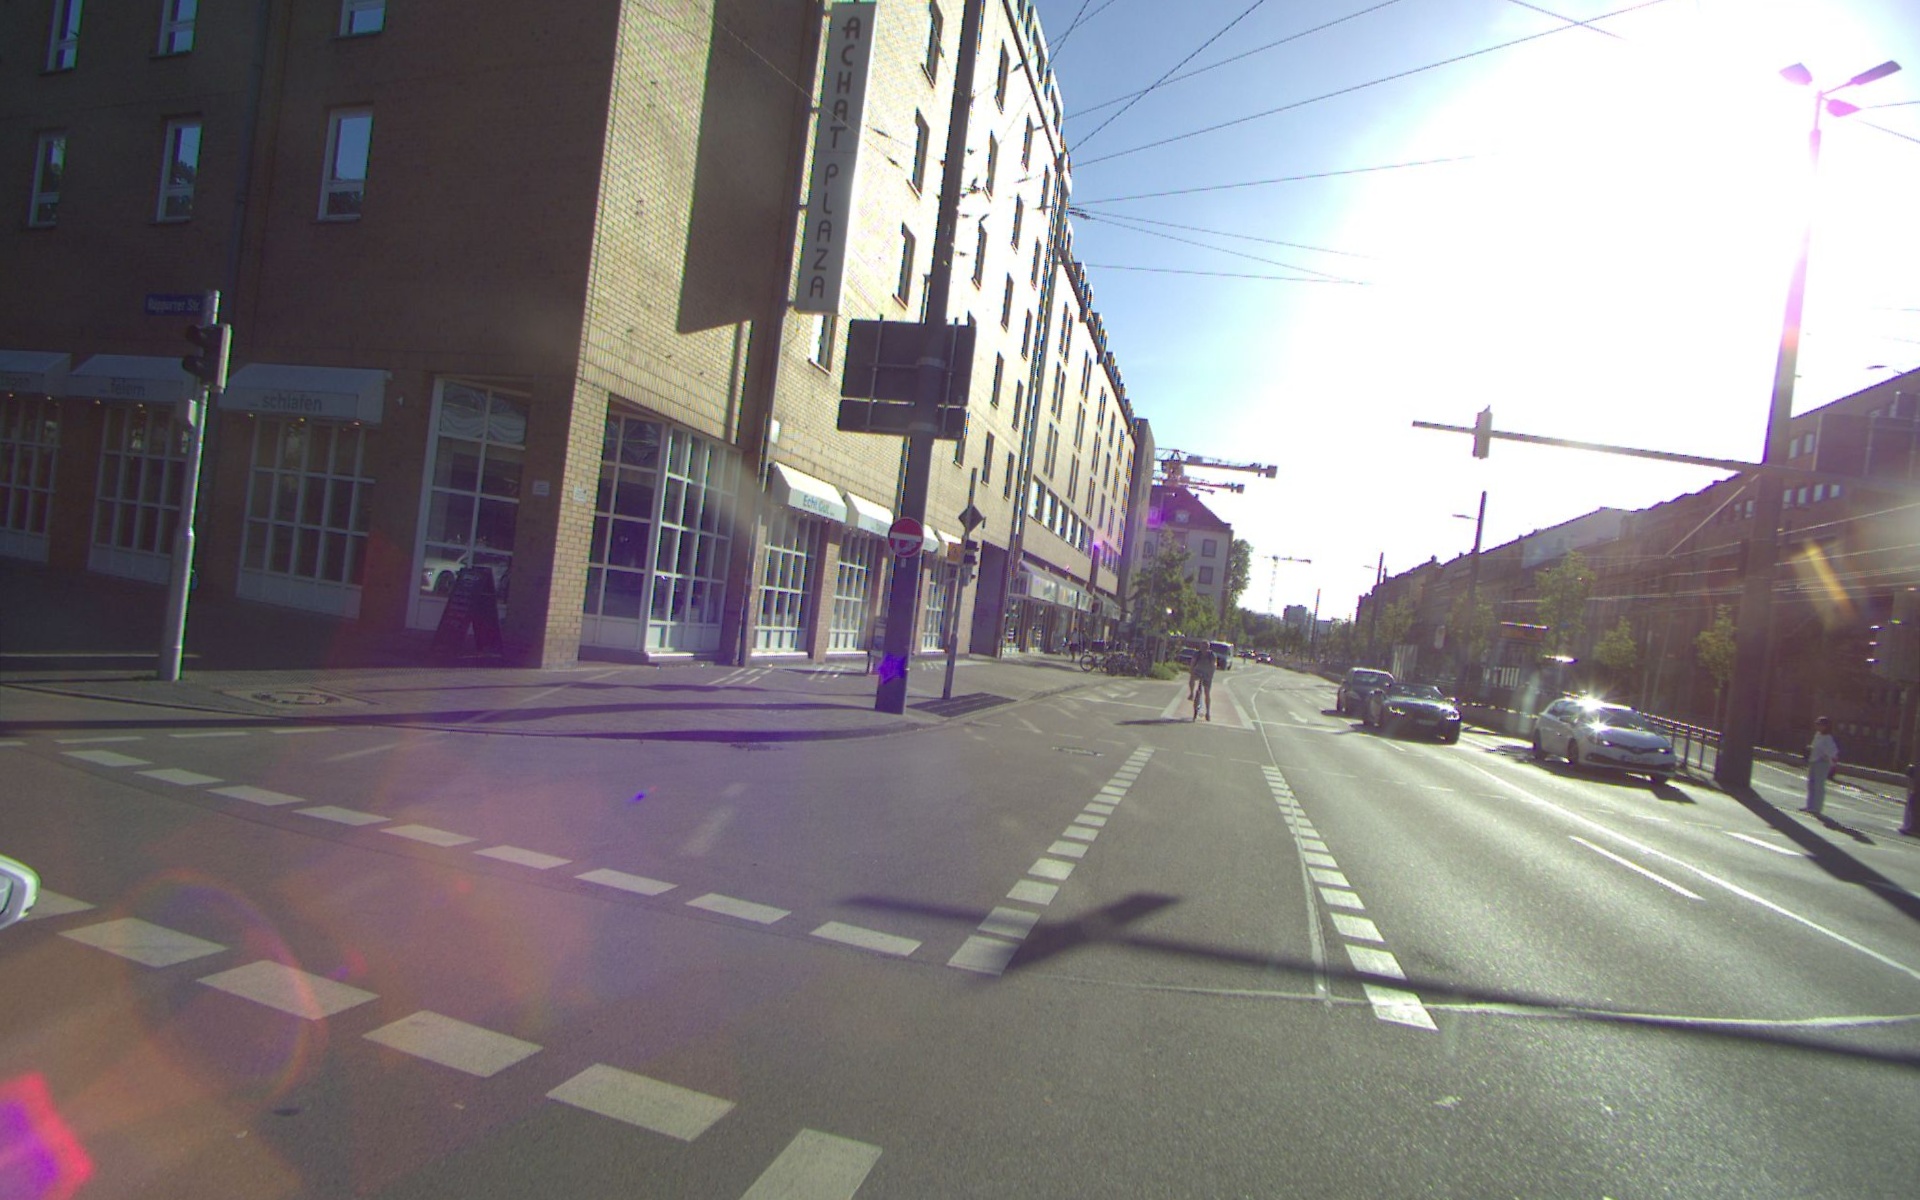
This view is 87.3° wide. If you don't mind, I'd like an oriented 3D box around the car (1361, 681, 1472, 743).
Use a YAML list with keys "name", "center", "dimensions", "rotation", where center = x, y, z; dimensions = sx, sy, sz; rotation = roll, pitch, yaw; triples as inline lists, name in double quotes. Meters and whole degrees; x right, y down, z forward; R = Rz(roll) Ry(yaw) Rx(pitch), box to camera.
- name: "car"
  center: [12.221, 2.963, 27.228]
  dimensions: [1.810, 1.283, 4.235]
  rotation: [6, -2, 13]

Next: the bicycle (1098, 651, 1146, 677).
- name: "bicycle"
  center: [7.356, 2.913, 45.754]
  dimensions: [2.004, 0.932, 0.482]
  rotation: [7, -1, 25]

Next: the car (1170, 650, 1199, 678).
- name: "car"
  center: [16.755, 4.789, 74.905]
  dimensions: [1.810, 1.857, 4.112]
  rotation: [6, -2, 14]

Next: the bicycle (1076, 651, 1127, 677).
- name: "bicycle"
  center: [6.065, 2.734, 43.120]
  dimensions: [2.004, 0.855, 0.482]
  rotation: [7, -1, 25]

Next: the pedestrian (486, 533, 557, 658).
- name: "pedestrian"
  center: [-6.362, -0.062, 14.601]
  dimensions: [0.744, 1.686, 0.736]
  rotation: [7, 0, -25]

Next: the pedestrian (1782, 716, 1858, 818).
- name: "pedestrian"
  center: [14.762, 2.849, 17.286]
  dimensions: [0.571, 1.595, 0.647]
  rotation: [7, -1, 1]

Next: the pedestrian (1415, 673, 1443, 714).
- name: "pedestrian"
  center: [24.122, 4.802, 51.767]
  dimensions: [0.847, 1.909, 0.737]
  rotation: [8, 1, 5]

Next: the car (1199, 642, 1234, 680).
- name: "car"
  center: [23.356, 5.485, 91.976]
  dimensions: [2.339, 3.034, 8.477]
  rotation: [7, -1, 12]

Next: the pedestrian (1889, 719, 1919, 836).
- name: "pedestrian"
  center: [14.955, 2.755, 15.413]
  dimensions: [0.709, 1.747, 0.595]
  rotation: [7, 0, 16]

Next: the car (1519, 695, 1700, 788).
- name: "car"
  center: [13.826, 2.948, 21.731]
  dimensions: [1.810, 1.465, 4.303]
  rotation: [6, -2, 13]

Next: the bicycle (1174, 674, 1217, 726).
- name: "bicycle"
  center: [5.400, 2.261, 23.073]
  dimensions: [0.797, 1.002, 2.511]
  rotation: [7, -2, 13]

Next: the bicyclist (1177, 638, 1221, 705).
- name: "bicyclist"
  center: [5.458, 1.629, 23.006]
  dimensions: [0.797, 1.393, 0.926]
  rotation: [7, -1, 13]

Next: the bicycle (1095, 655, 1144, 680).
- name: "bicycle"
  center: [7.025, 2.963, 44.350]
  dimensions: [2.004, 0.855, 0.482]
  rotation: [7, -1, 25]

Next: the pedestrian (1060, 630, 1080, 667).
- name: "pedestrian"
  center: [5.559, 2.450, 50.820]
  dimensions: [0.705, 1.785, 0.566]
  rotation: [6, -1, 18]

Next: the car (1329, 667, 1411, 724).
- name: "car"
  center: [14.028, 3.213, 34.644]
  dimensions: [1.810, 1.631, 4.235]
  rotation: [6, -2, 13]

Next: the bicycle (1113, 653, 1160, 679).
- name: "bicycle"
  center: [8.154, 3.045, 46.626]
  dimensions: [2.004, 0.932, 0.482]
  rotation: [7, -1, 25]
